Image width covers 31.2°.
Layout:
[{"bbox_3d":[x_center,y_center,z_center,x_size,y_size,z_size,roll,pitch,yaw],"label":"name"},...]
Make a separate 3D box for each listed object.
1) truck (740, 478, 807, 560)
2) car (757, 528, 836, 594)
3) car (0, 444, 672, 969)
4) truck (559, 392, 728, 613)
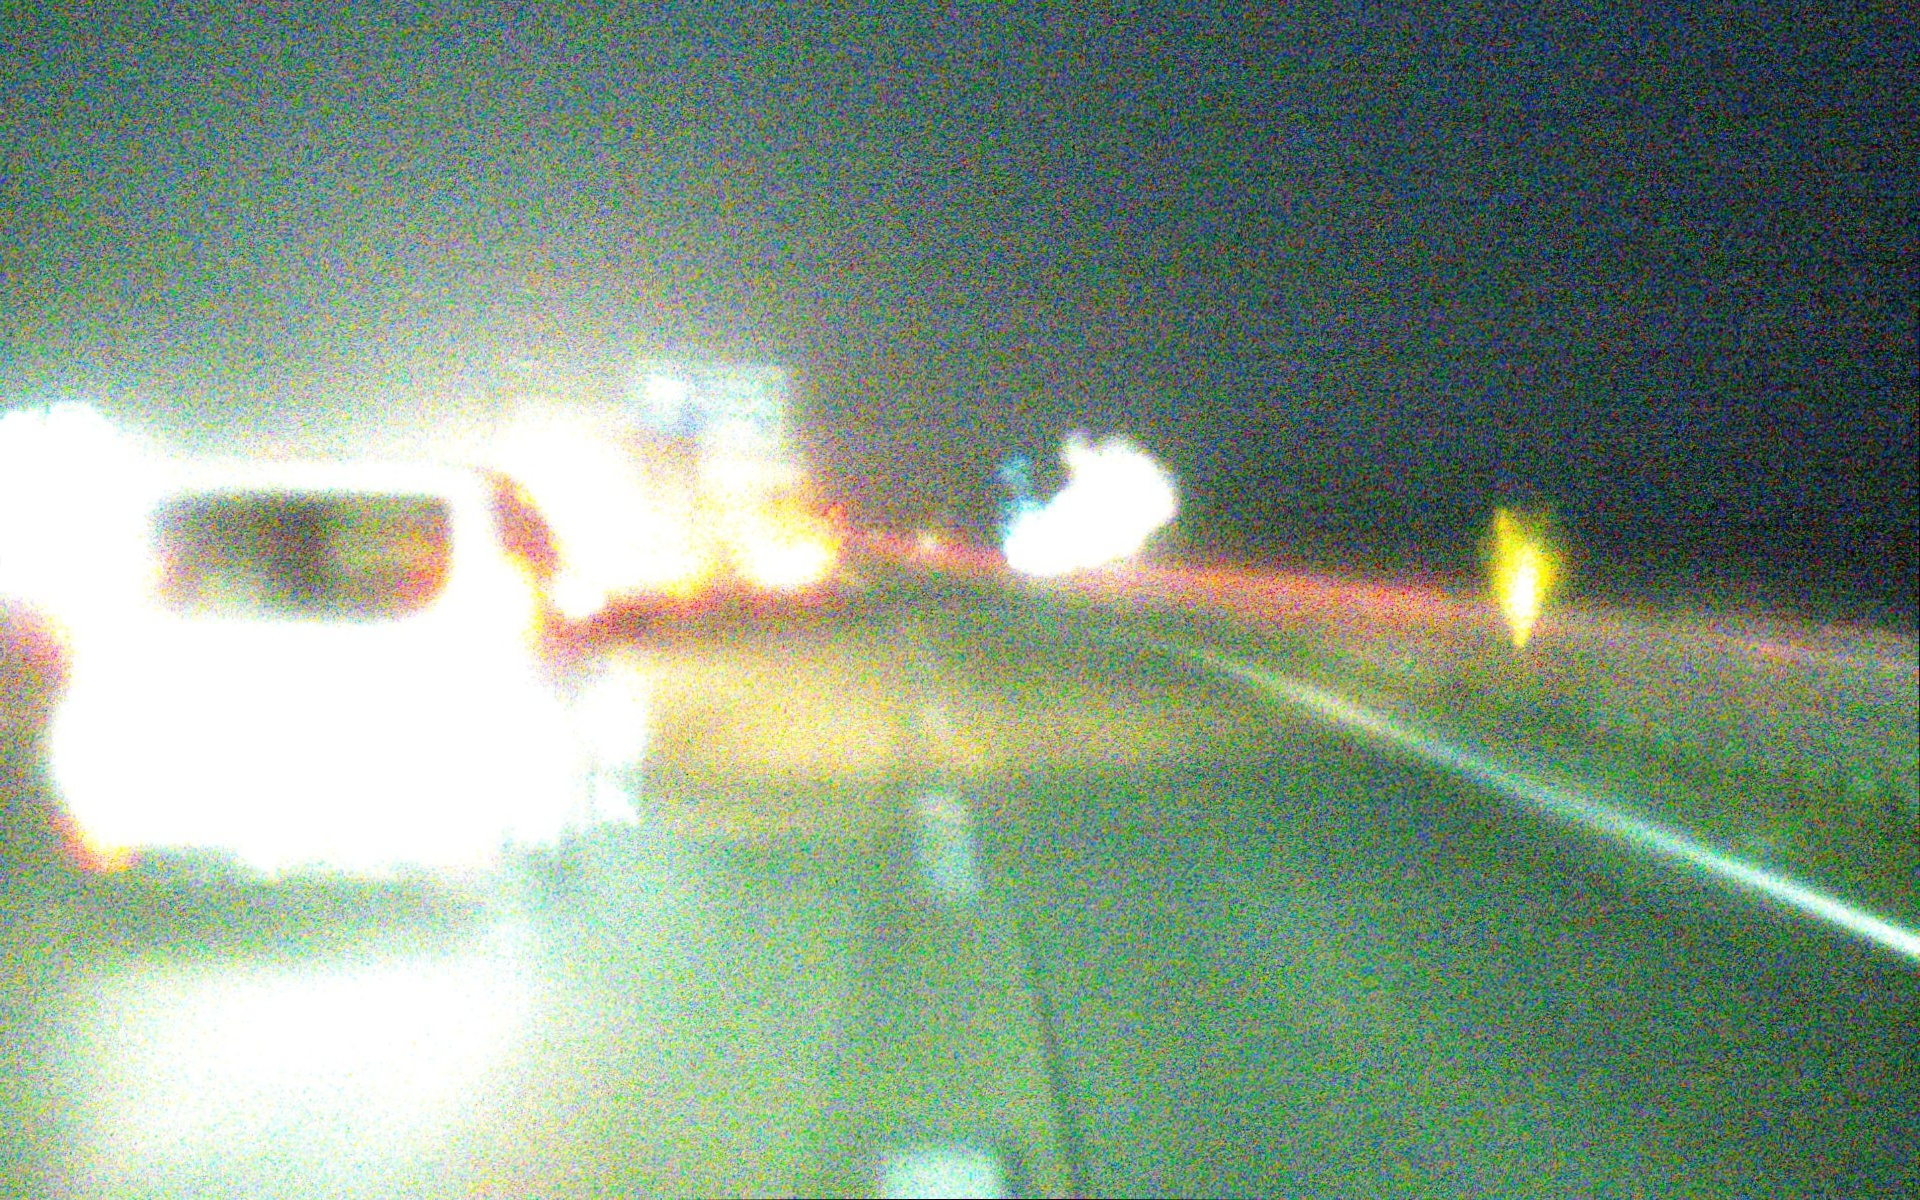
[{"bbox_3d":[-11.753,-5.053,215.541,3.823,4.898,11.608,2,1,-4],"label":"truck"},{"bbox_3d":[-4.496,-1.078,94.161,1.993,1.701,4.196,1,1,-4],"label":"car"},{"bbox_3d":[-2.482,0.291,14.541,1.953,1.786,5.124,1,2,1],"label":"car"},{"bbox_3d":[-8.513,-2.586,94.192,4.167,5.525,13.076,1,1,-4],"label":"truck"}]
